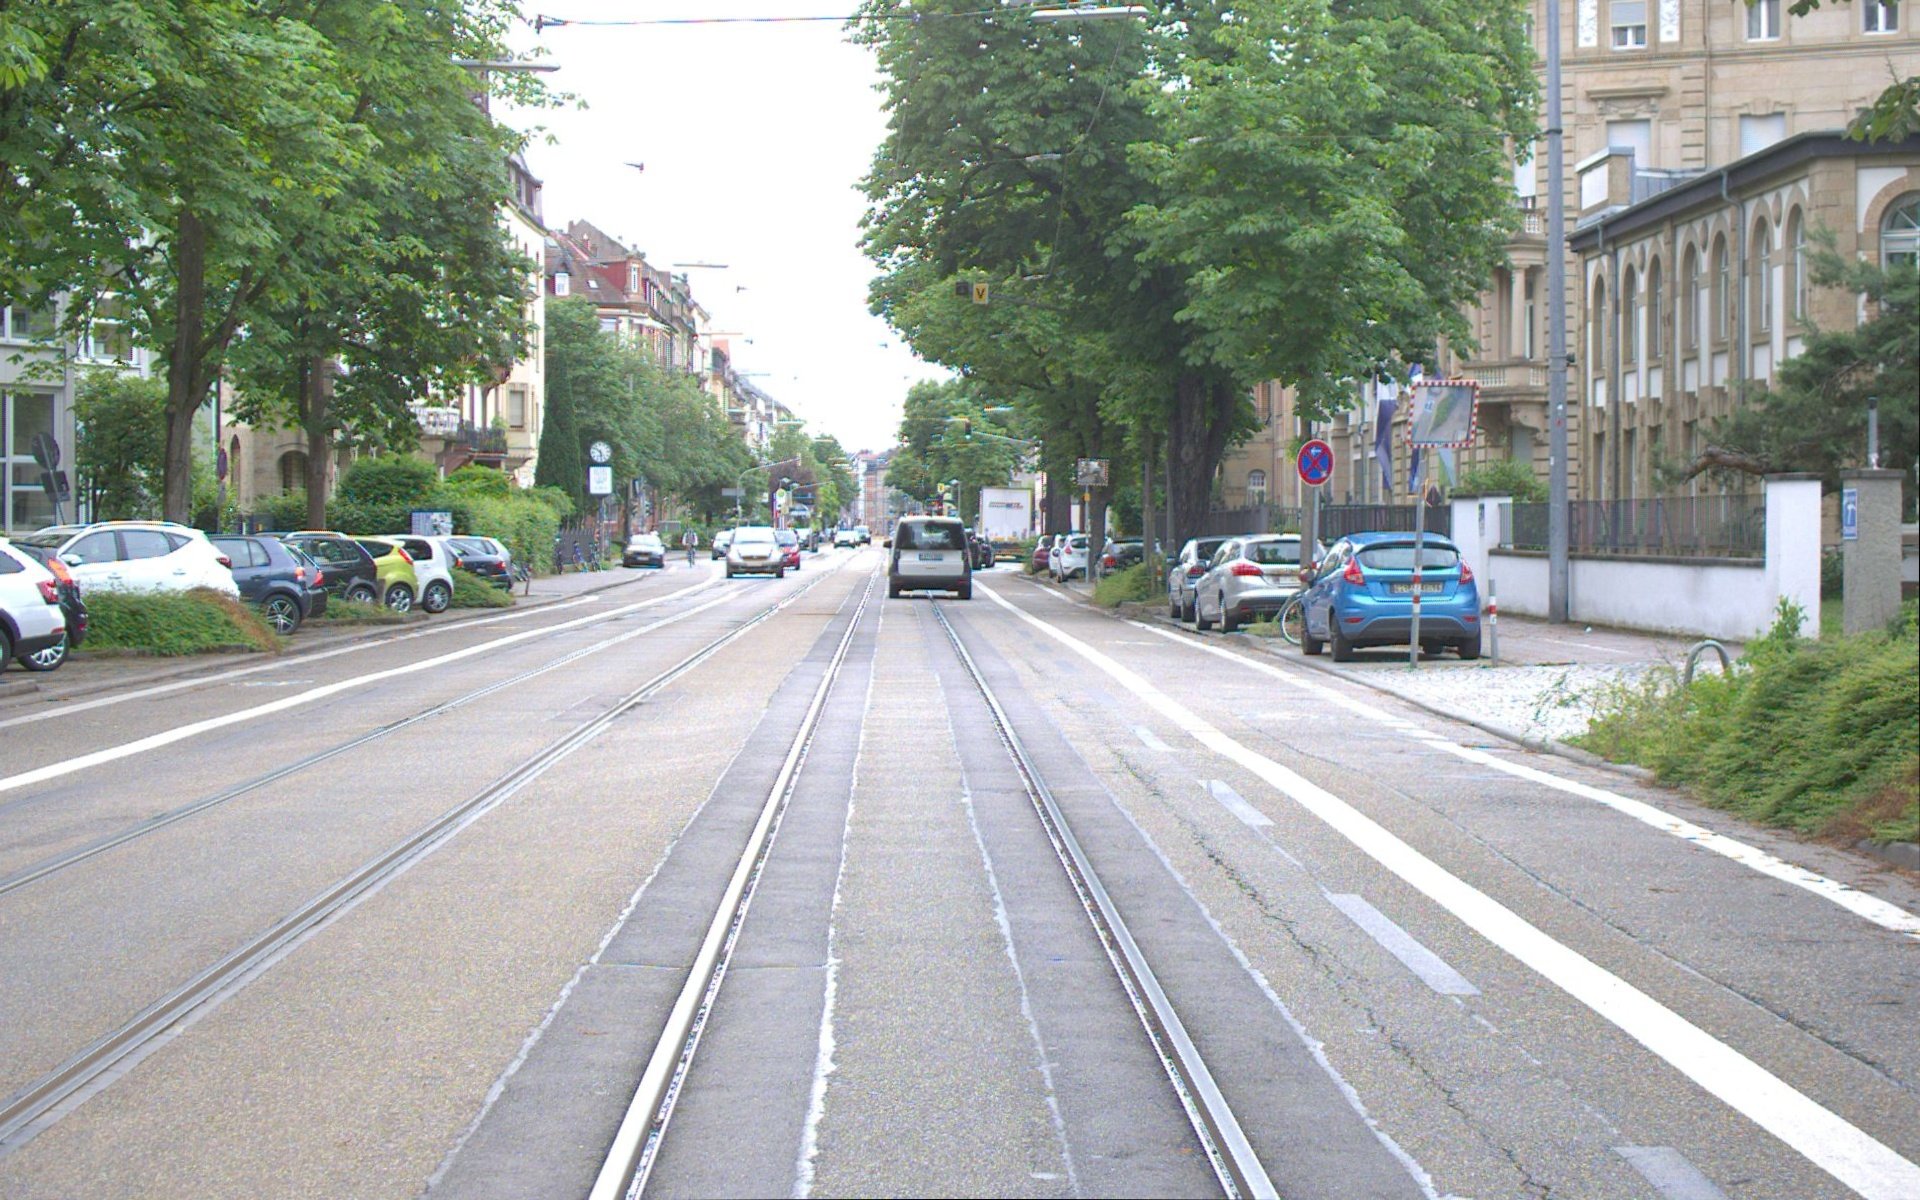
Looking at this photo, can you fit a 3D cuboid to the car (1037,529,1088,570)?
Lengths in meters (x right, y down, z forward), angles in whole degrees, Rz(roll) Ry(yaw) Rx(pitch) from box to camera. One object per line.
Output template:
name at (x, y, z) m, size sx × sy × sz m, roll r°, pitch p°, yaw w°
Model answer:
car at (3.591, -1.796, 120.926) m, size 1.770 × 1.394 × 3.795 m, roll 0°, pitch 1°, yaw 1°

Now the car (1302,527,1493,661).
car at (5.029, -0.103, 39.880) m, size 1.674 × 1.455 × 3.433 m, roll 1°, pitch 1°, yaw -1°

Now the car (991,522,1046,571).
car at (2.169, -2.016, 128.239) m, size 1.993 × 1.787 × 4.000 m, roll 0°, pitch 1°, yaw 0°

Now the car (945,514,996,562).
car at (0.427, -2.693, 148.326) m, size 1.993 × 2.007 × 4.001 m, roll 1°, pitch 1°, yaw -3°

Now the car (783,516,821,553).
car at (-9.849, -4.101, 214.343) m, size 2.205 × 2.248 × 4.000 m, roll 0°, pitch 1°, yaw -1°

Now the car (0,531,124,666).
car at (-11.055, -0.041, 36.212) m, size 4.016 × 1.401 × 1.699 m, roll 0°, pitch 2°, yaw -39°

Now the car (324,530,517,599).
car at (-11.511, -0.757, 73.316) m, size 3.707 × 1.381 × 1.700 m, roll 1°, pitch 1°, yaw -25°

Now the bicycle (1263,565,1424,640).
bicycle at (4.978, 0.026, 44.690) m, size 2.012 × 0.953 × 0.534 m, roll 0°, pitch 1°, yaw -4°

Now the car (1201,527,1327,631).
car at (4.560, -0.346, 51.875) m, size 1.475 × 1.476 × 3.566 m, roll 1°, pitch 1°, yaw -1°

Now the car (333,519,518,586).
car at (-11.834, -1.046, 76.124) m, size 3.707 × 1.381 × 1.700 m, roll 1°, pitch 1°, yaw -25°

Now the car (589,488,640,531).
car at (-17.582, -4.606, 175.202) m, size 2.177 × 2.199 × 4.219 m, roll 0°, pitch 1°, yaw 0°

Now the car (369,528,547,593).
car at (-11.579, -0.910, 79.328) m, size 3.707 × 1.381 × 1.700 m, roll 1°, pitch 1°, yaw -25°

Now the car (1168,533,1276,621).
car at (4.471, -0.424, 59.100) m, size 1.475 × 1.424 × 3.566 m, roll 1°, pitch 1°, yaw -1°

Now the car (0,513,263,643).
car at (-11.037, -0.290, 43.155) m, size 1.698 × 1.550 × 4.336 m, roll 2°, pitch 2°, yaw 40°

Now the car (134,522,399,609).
car at (-11.305, -0.553, 56.166) m, size 1.699 × 1.347 × 3.958 m, roll 3°, pitch 2°, yaw 44°

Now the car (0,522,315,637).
car at (-10.990, -0.277, 46.290) m, size 1.699 × 1.449 × 4.335 m, roll 3°, pitch 2°, yaw 44°

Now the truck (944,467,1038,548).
truck at (1.537, -4.725, 176.888) m, size 3.807 × 4.015 × 10.220 m, roll 0°, pitch 1°, yaw -5°

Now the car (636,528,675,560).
car at (-13.279, -2.446, 149.997) m, size 1.641 × 1.349 × 3.878 m, roll 1°, pitch 1°, yaw -4°

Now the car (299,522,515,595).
car at (-10.856, -0.806, 67.682) m, size 1.699 × 1.347 × 3.958 m, roll 3°, pitch 2°, yaw 44°

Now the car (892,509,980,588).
car at (-0.510, -1.141, 76.374) m, size 1.812 × 1.702 × 3.699 m, roll 1°, pitch 1°, yaw 2°

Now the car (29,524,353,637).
car at (-11.080, -0.281, 49.755) m, size 1.699 × 1.530 × 4.335 m, roll 3°, pitch 2°, yaw 44°

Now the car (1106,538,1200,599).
car at (4.107, -0.694, 73.656) m, size 1.873 × 1.247 × 4.000 m, roll 0°, pitch 1°, yaw 1°

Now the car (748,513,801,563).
car at (-9.174, -3.088, 170.454) m, size 2.205 × 2.409 × 4.000 m, roll 0°, pitch 1°, yaw 3°

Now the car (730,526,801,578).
car at (-5.980, -1.505, 105.967) m, size 1.900 × 1.525 × 3.754 m, roll -1°, pitch 1°, yaw 0°

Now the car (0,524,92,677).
car at (-10.716, -0.020, 33.470) m, size 4.016 × 1.479 × 1.699 m, roll 0°, pitch 2°, yaw -39°

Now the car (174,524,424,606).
car at (-11.402, -0.595, 59.455) m, size 1.699 × 1.347 × 3.958 m, roll 3°, pitch 2°, yaw 44°

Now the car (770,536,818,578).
car at (-6.262, -1.623, 129.533) m, size 1.676 × 1.517 × 2.782 m, roll 1°, pitch 1°, yaw 0°

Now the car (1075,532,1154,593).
car at (3.647, -0.897, 81.590) m, size 1.791 × 1.394 × 3.795 m, roll 0°, pitch 1°, yaw 1°

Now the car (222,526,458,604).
car at (-11.245, -0.630, 62.509) m, size 1.699 × 1.347 × 3.958 m, roll 3°, pitch 2°, yaw 44°
